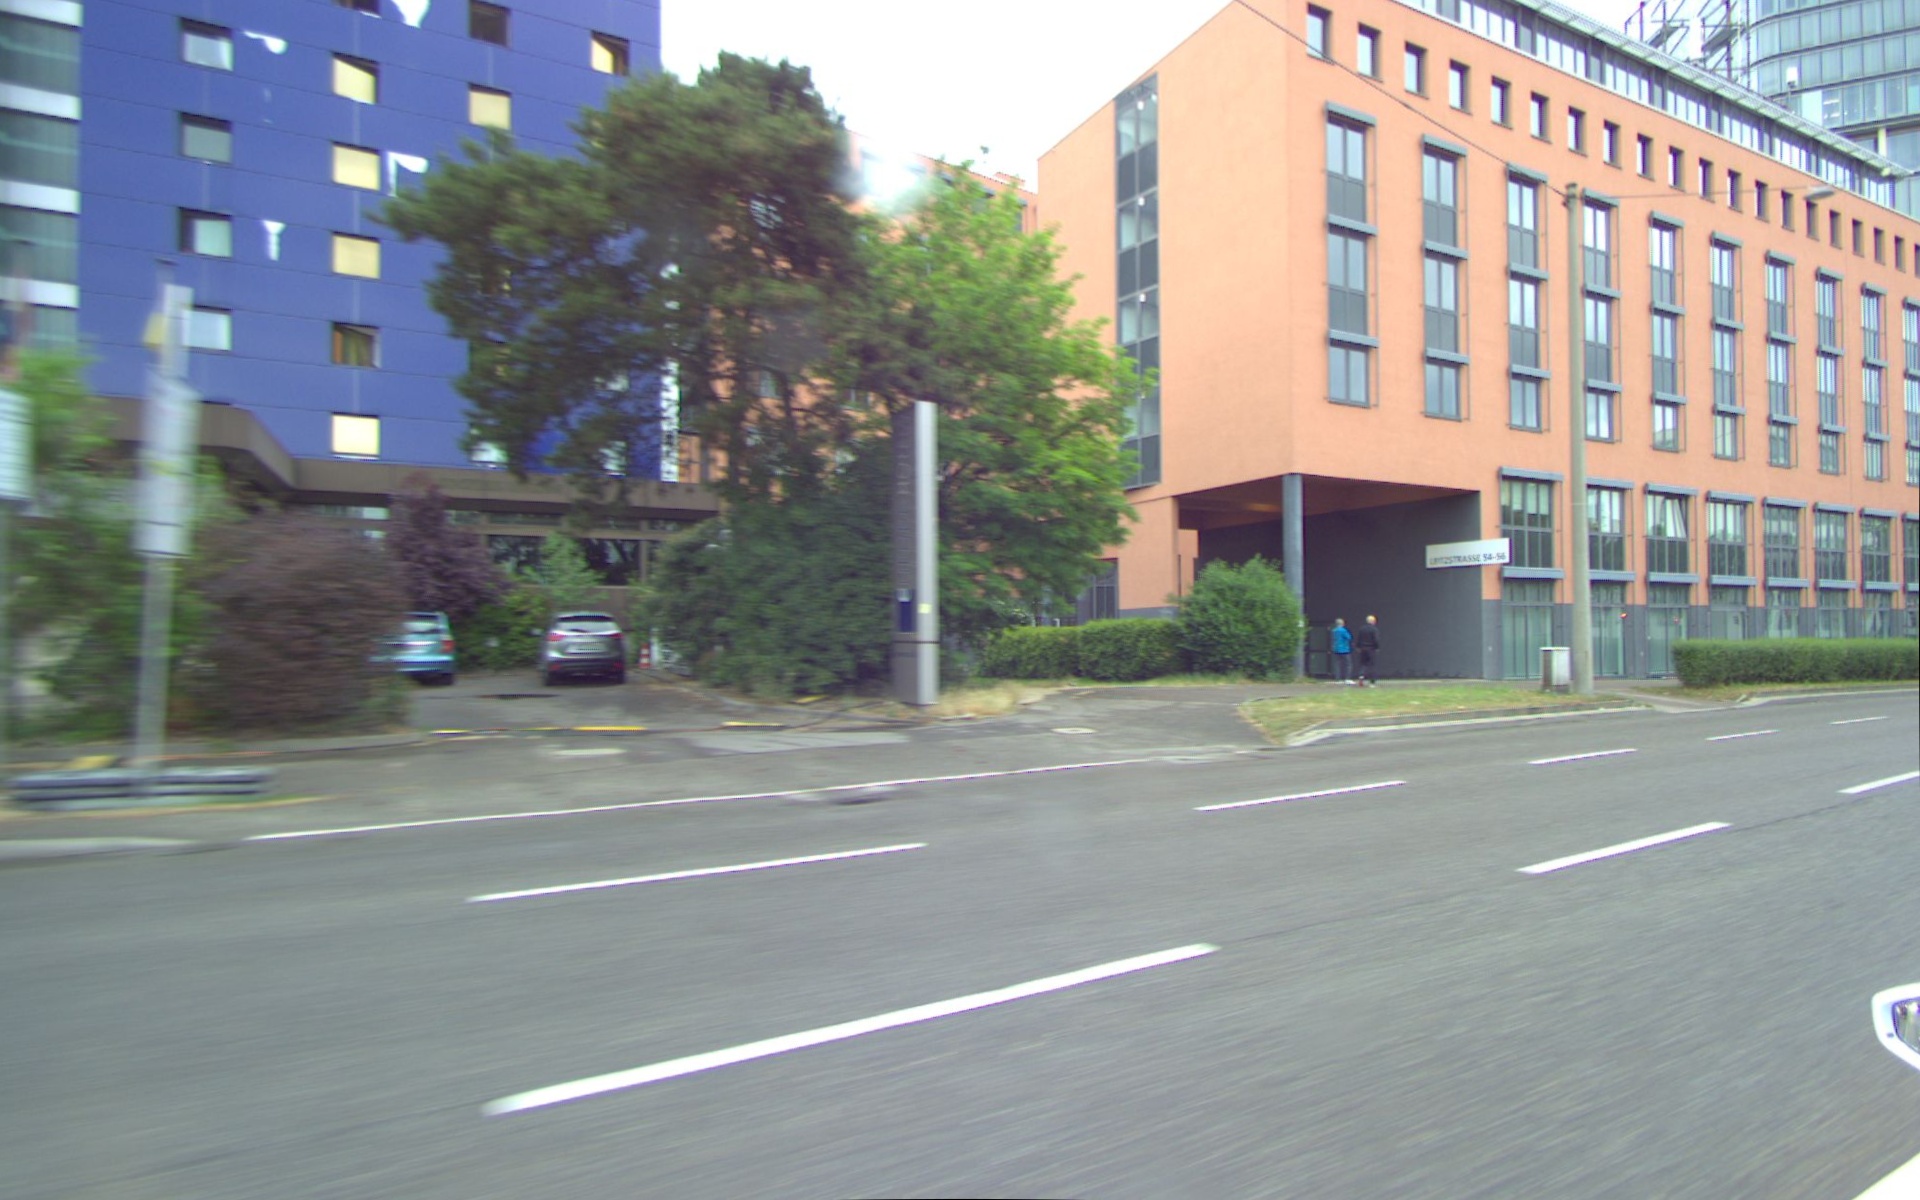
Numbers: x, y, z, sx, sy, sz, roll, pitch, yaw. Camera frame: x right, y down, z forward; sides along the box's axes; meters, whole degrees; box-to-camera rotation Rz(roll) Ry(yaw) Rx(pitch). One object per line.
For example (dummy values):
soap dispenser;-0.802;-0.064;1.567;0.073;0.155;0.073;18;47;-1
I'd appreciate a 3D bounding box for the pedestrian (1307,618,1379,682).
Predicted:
pedestrian;10.524;1.404;27.611;1.402;1.700;1.202;3;-5;-27

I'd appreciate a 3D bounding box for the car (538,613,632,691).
car;-8.998;1.213;23.960;1.794;1.688;3.398;-1;-2;-26

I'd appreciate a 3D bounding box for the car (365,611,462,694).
car;-12.601;1.141;23.351;1.721;1.727;3.975;0;-1;-25

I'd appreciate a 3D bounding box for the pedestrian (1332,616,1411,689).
pedestrian;10.851;1.420;26.526;1.421;1.846;1.311;3;-5;-27
